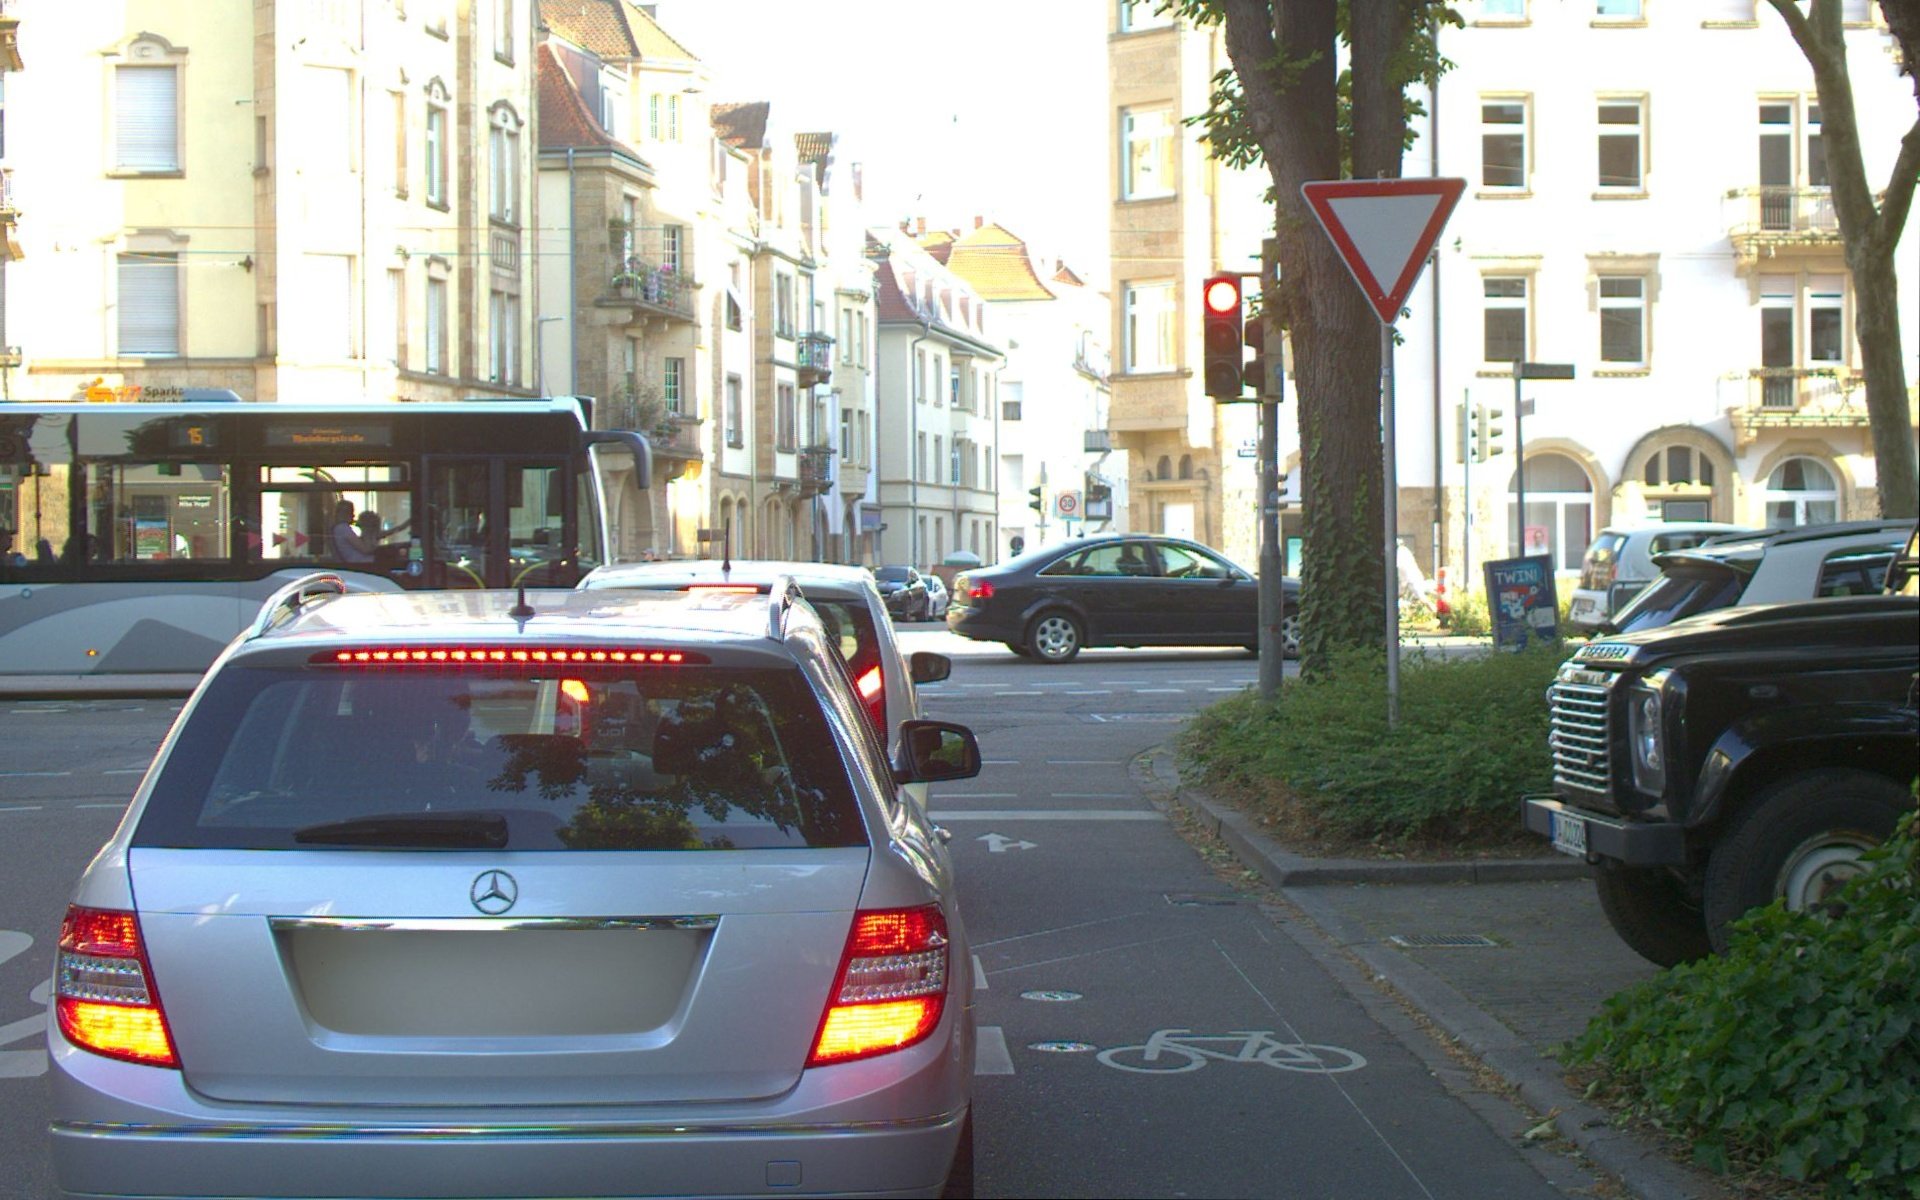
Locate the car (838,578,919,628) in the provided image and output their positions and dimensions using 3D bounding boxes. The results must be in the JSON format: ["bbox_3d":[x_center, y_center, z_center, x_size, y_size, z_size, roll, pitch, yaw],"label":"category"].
[{"bbox_3d":[-2.434,0.082,103.513,1.835,1.397,3.999,0,2,8],"label":"car"}]

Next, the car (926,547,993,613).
[{"bbox_3d":[0.005,-0.718,118.330,1.787,2.196,3.999,0,2,8],"label":"car"}]

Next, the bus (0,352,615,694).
[{"bbox_3d":[-8.738,-0.749,33.990,10.450,3.190,2.912,-1,1,-8],"label":"bus"}]

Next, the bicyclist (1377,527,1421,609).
[{"bbox_3d":[7.621,-0.562,59.689,0.643,1.421,0.637,0,1,-5],"label":"bicyclist"}]

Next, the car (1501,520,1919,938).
[{"bbox_3d":[4.265,0.449,14.078,3.723,1.564,1.709,-2,1,-4],"label":"car"}]

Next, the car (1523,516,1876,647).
[{"bbox_3d":[8.534,-0.231,39.780,3.685,1.444,1.516,-1,1,-8],"label":"car"}]

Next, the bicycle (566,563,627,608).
[{"bbox_3d":[-7.852,-0.321,74.360,0.771,0.936,1.939,1,1,11],"label":"bicycle"}]

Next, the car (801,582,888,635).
[{"bbox_3d":[-3.263,0.229,98.022,1.835,1.397,3.999,0,2,8],"label":"car"}]

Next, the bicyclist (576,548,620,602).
[{"bbox_3d":[-7.834,-0.544,74.434,0.771,1.152,0.752,1,1,11],"label":"bicyclist"}]

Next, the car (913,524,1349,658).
[{"bbox_3d":[1.916,-0.121,39.095,4.688,1.424,1.719,-1,1,-8],"label":"car"}]

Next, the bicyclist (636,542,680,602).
[{"bbox_3d":[-6.528,-0.608,74.444,0.771,1.285,0.752,0,1,11],"label":"bicyclist"}]

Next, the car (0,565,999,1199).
[{"bbox_3d":[-0.916,0.661,7.954,1.777,1.447,4.548,0,1,-2],"label":"car"}]

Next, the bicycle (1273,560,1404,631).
[{"bbox_3d":[6.796,-0.089,61.751,2.256,1.242,0.637,0,1,-5],"label":"bicycle"}]

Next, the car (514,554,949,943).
[{"bbox_3d":[-0.940,0.528,15.033,1.619,1.442,4.345,0,1,-2],"label":"car"}]

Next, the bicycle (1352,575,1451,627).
[{"bbox_3d":[7.665,0.013,59.705,1.617,0.873,0.637,0,1,-5],"label":"bicycle"}]

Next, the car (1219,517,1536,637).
[{"bbox_3d":[5.257,-0.300,43.455,3.685,1.444,1.516,-1,1,-8],"label":"car"}]

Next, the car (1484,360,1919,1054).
[{"bbox_3d":[4.111,0.259,11.133,4.465,2.029,1.701,-2,1,-4],"label":"car"}]

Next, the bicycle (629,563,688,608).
[{"bbox_3d":[-6.529,-0.315,74.449,0.771,0.930,1.939,1,1,11],"label":"bicycle"}]

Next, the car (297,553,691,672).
[{"bbox_3d":[-5.138,0.118,37.971,4.195,1.232,1.719,-1,1,-8],"label":"car"}]

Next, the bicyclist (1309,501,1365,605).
[{"bbox_3d":[6.766,-0.840,61.733,0.891,1.853,0.637,0,1,-5],"label":"bicyclist"}]
